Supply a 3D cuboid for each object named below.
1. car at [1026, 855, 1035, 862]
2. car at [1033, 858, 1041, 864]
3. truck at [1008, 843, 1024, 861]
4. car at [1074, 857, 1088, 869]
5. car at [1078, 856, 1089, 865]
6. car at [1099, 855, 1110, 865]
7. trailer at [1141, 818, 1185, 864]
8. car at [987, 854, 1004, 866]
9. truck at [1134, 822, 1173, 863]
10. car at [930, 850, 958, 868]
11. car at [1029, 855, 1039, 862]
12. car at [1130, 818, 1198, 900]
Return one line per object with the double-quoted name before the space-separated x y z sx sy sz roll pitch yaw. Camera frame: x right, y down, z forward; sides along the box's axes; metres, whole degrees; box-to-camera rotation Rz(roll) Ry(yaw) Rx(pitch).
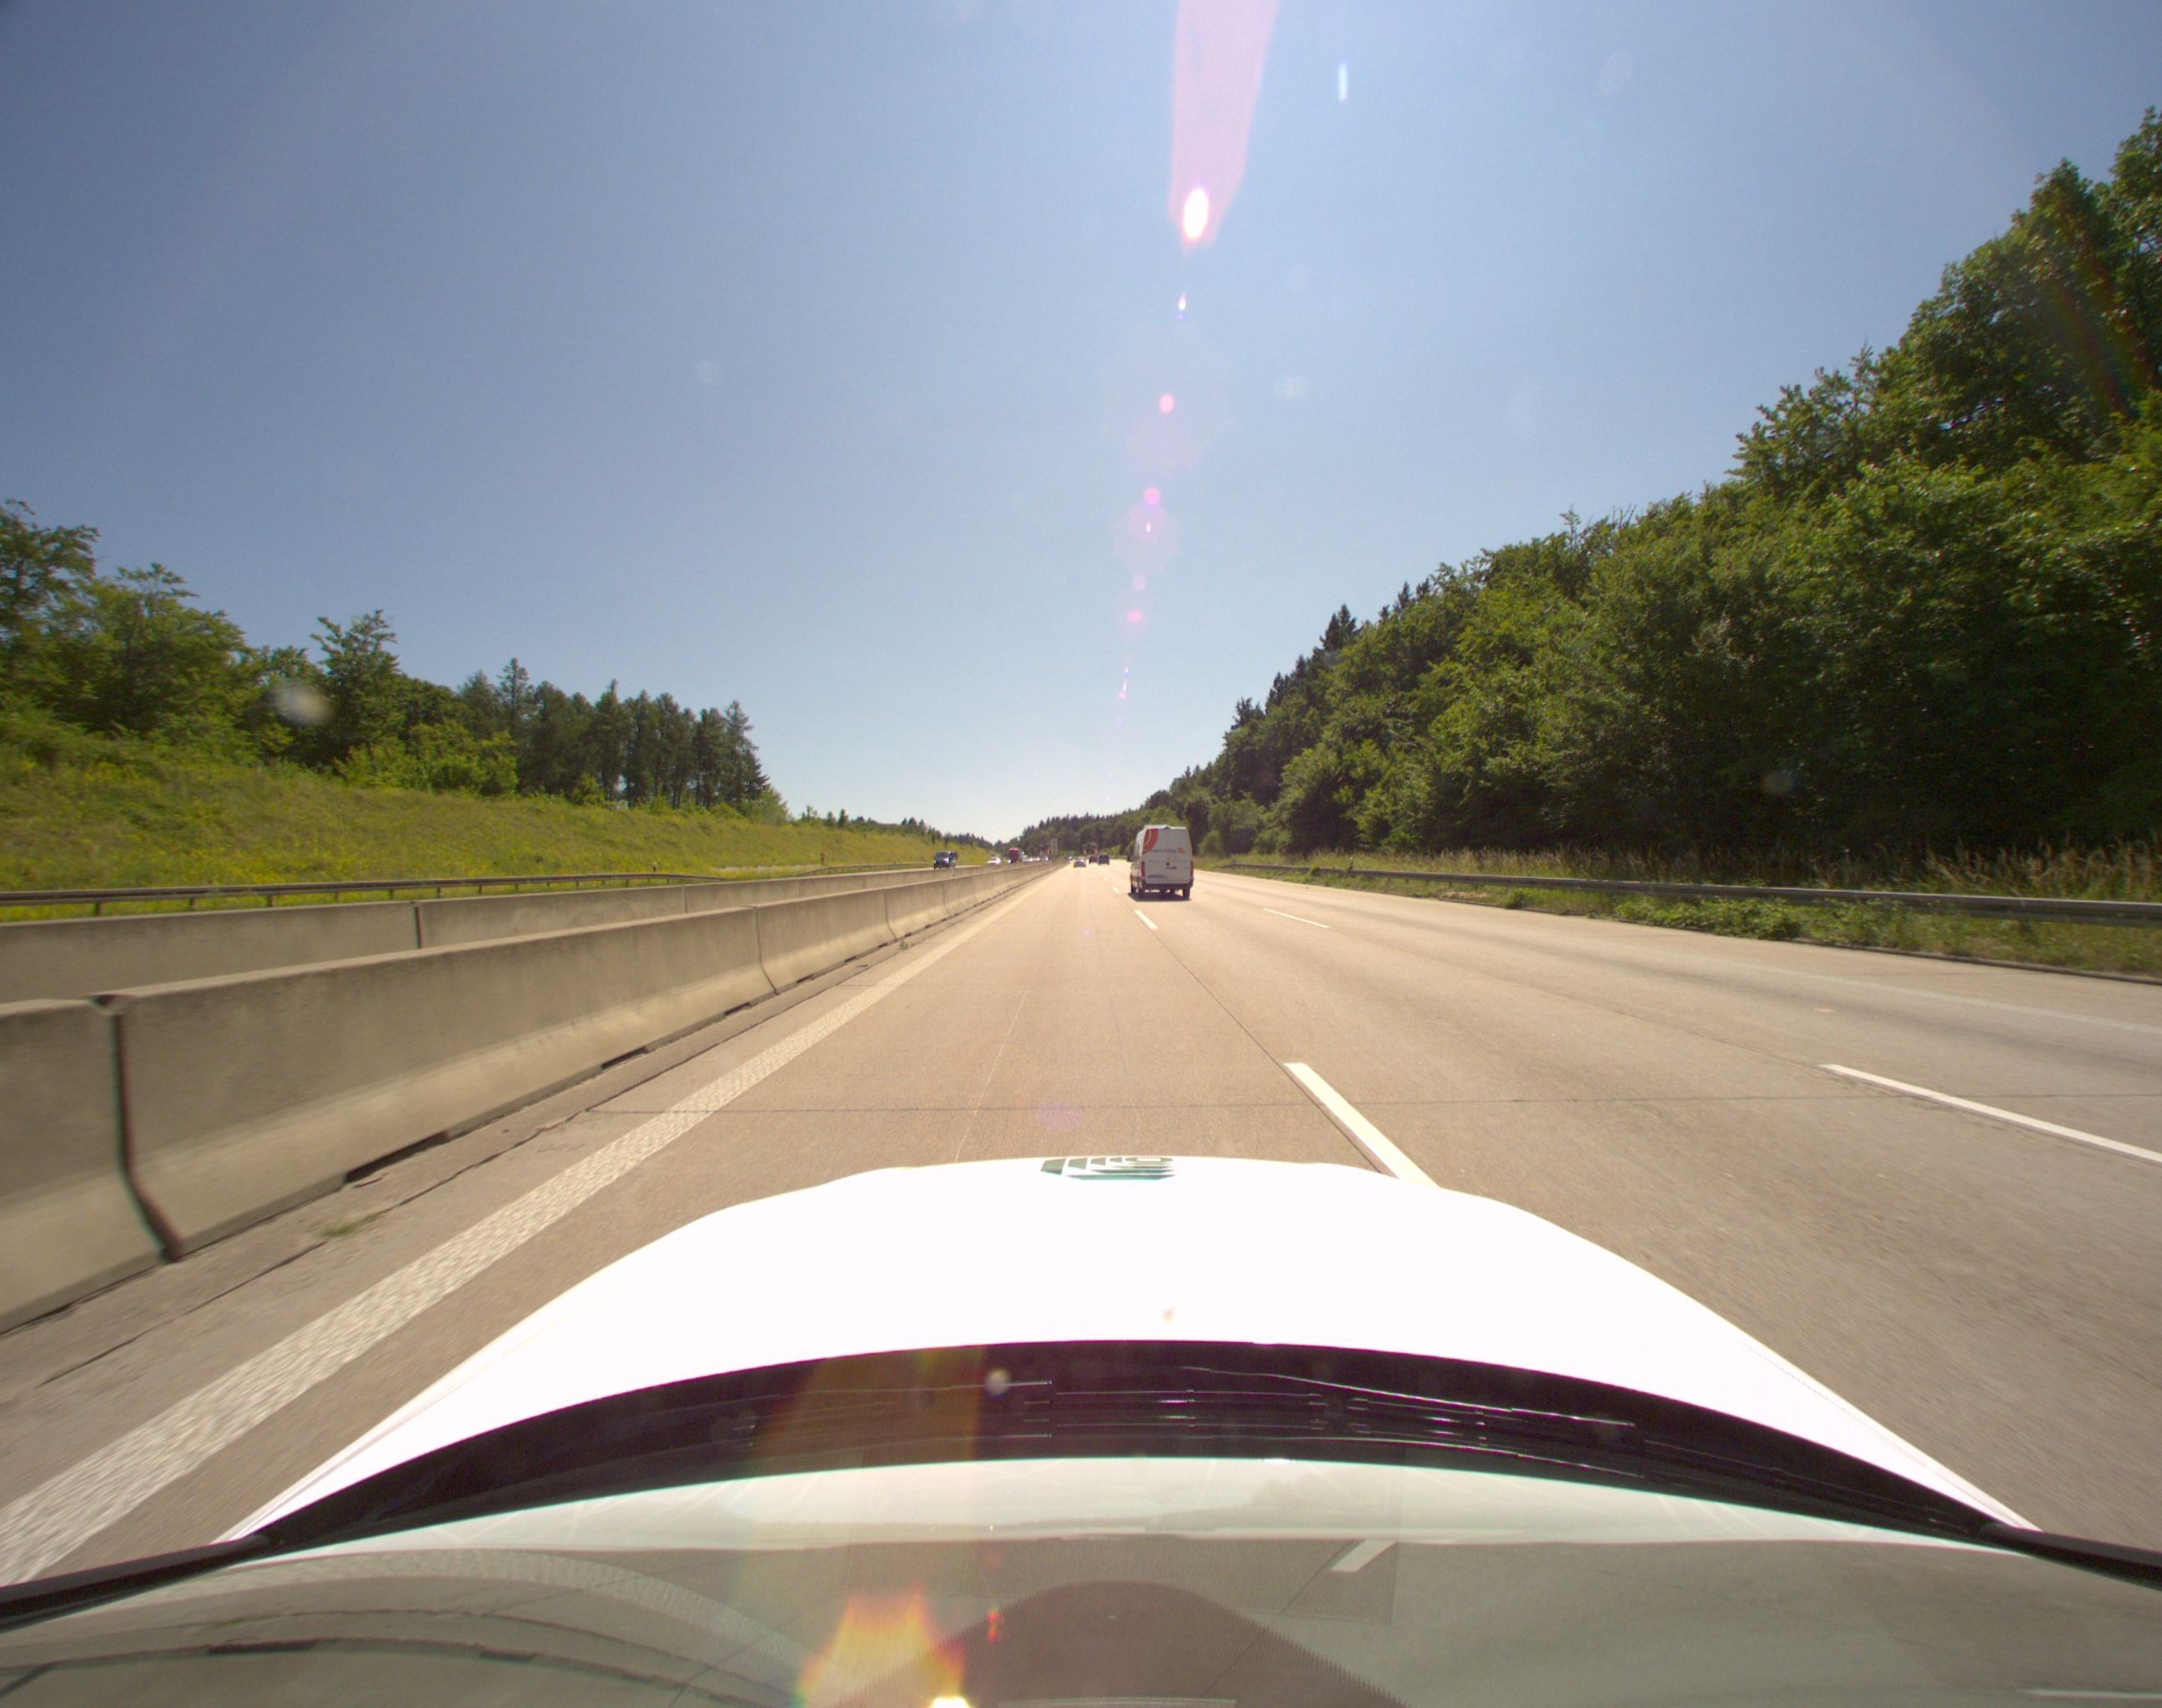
"car" -11.931 1.045 193.112 1.987 1.564 4.000 0 0 0
"car" -12.897 2.038 237.633 1.987 1.692 4.815 -1 0 0
"truck" -16.490 -0.510 207.133 3.376 4.431 6.800 0 -1 0
"car" -0.046 1.272 119.367 1.987 1.684 3.999 0 -1 0
"car" 0.502 1.150 153.621 1.987 1.684 3.999 0 -1 0
"car" 4.041 1.003 140.753 1.986 1.684 4.001 0 -1 1
"trailer" 7.651 -1.144 77.245 3.125 4.017 9.085 -2 0 -1
"car" -13.050 0.936 124.020 2.001 1.807 4.853 0 0 0
"truck" 7.652 -1.139 87.097 3.149 4.017 10.606 -2 0 0
"car" -17.405 0.592 103.744 2.472 2.210 6.458 0 0 0
"car" -11.408 1.135 197.814 1.987 1.558 4.498 -1 0 0
"car" 3.133 0.151 31.956 2.218 2.844 5.457 -2 0 2
